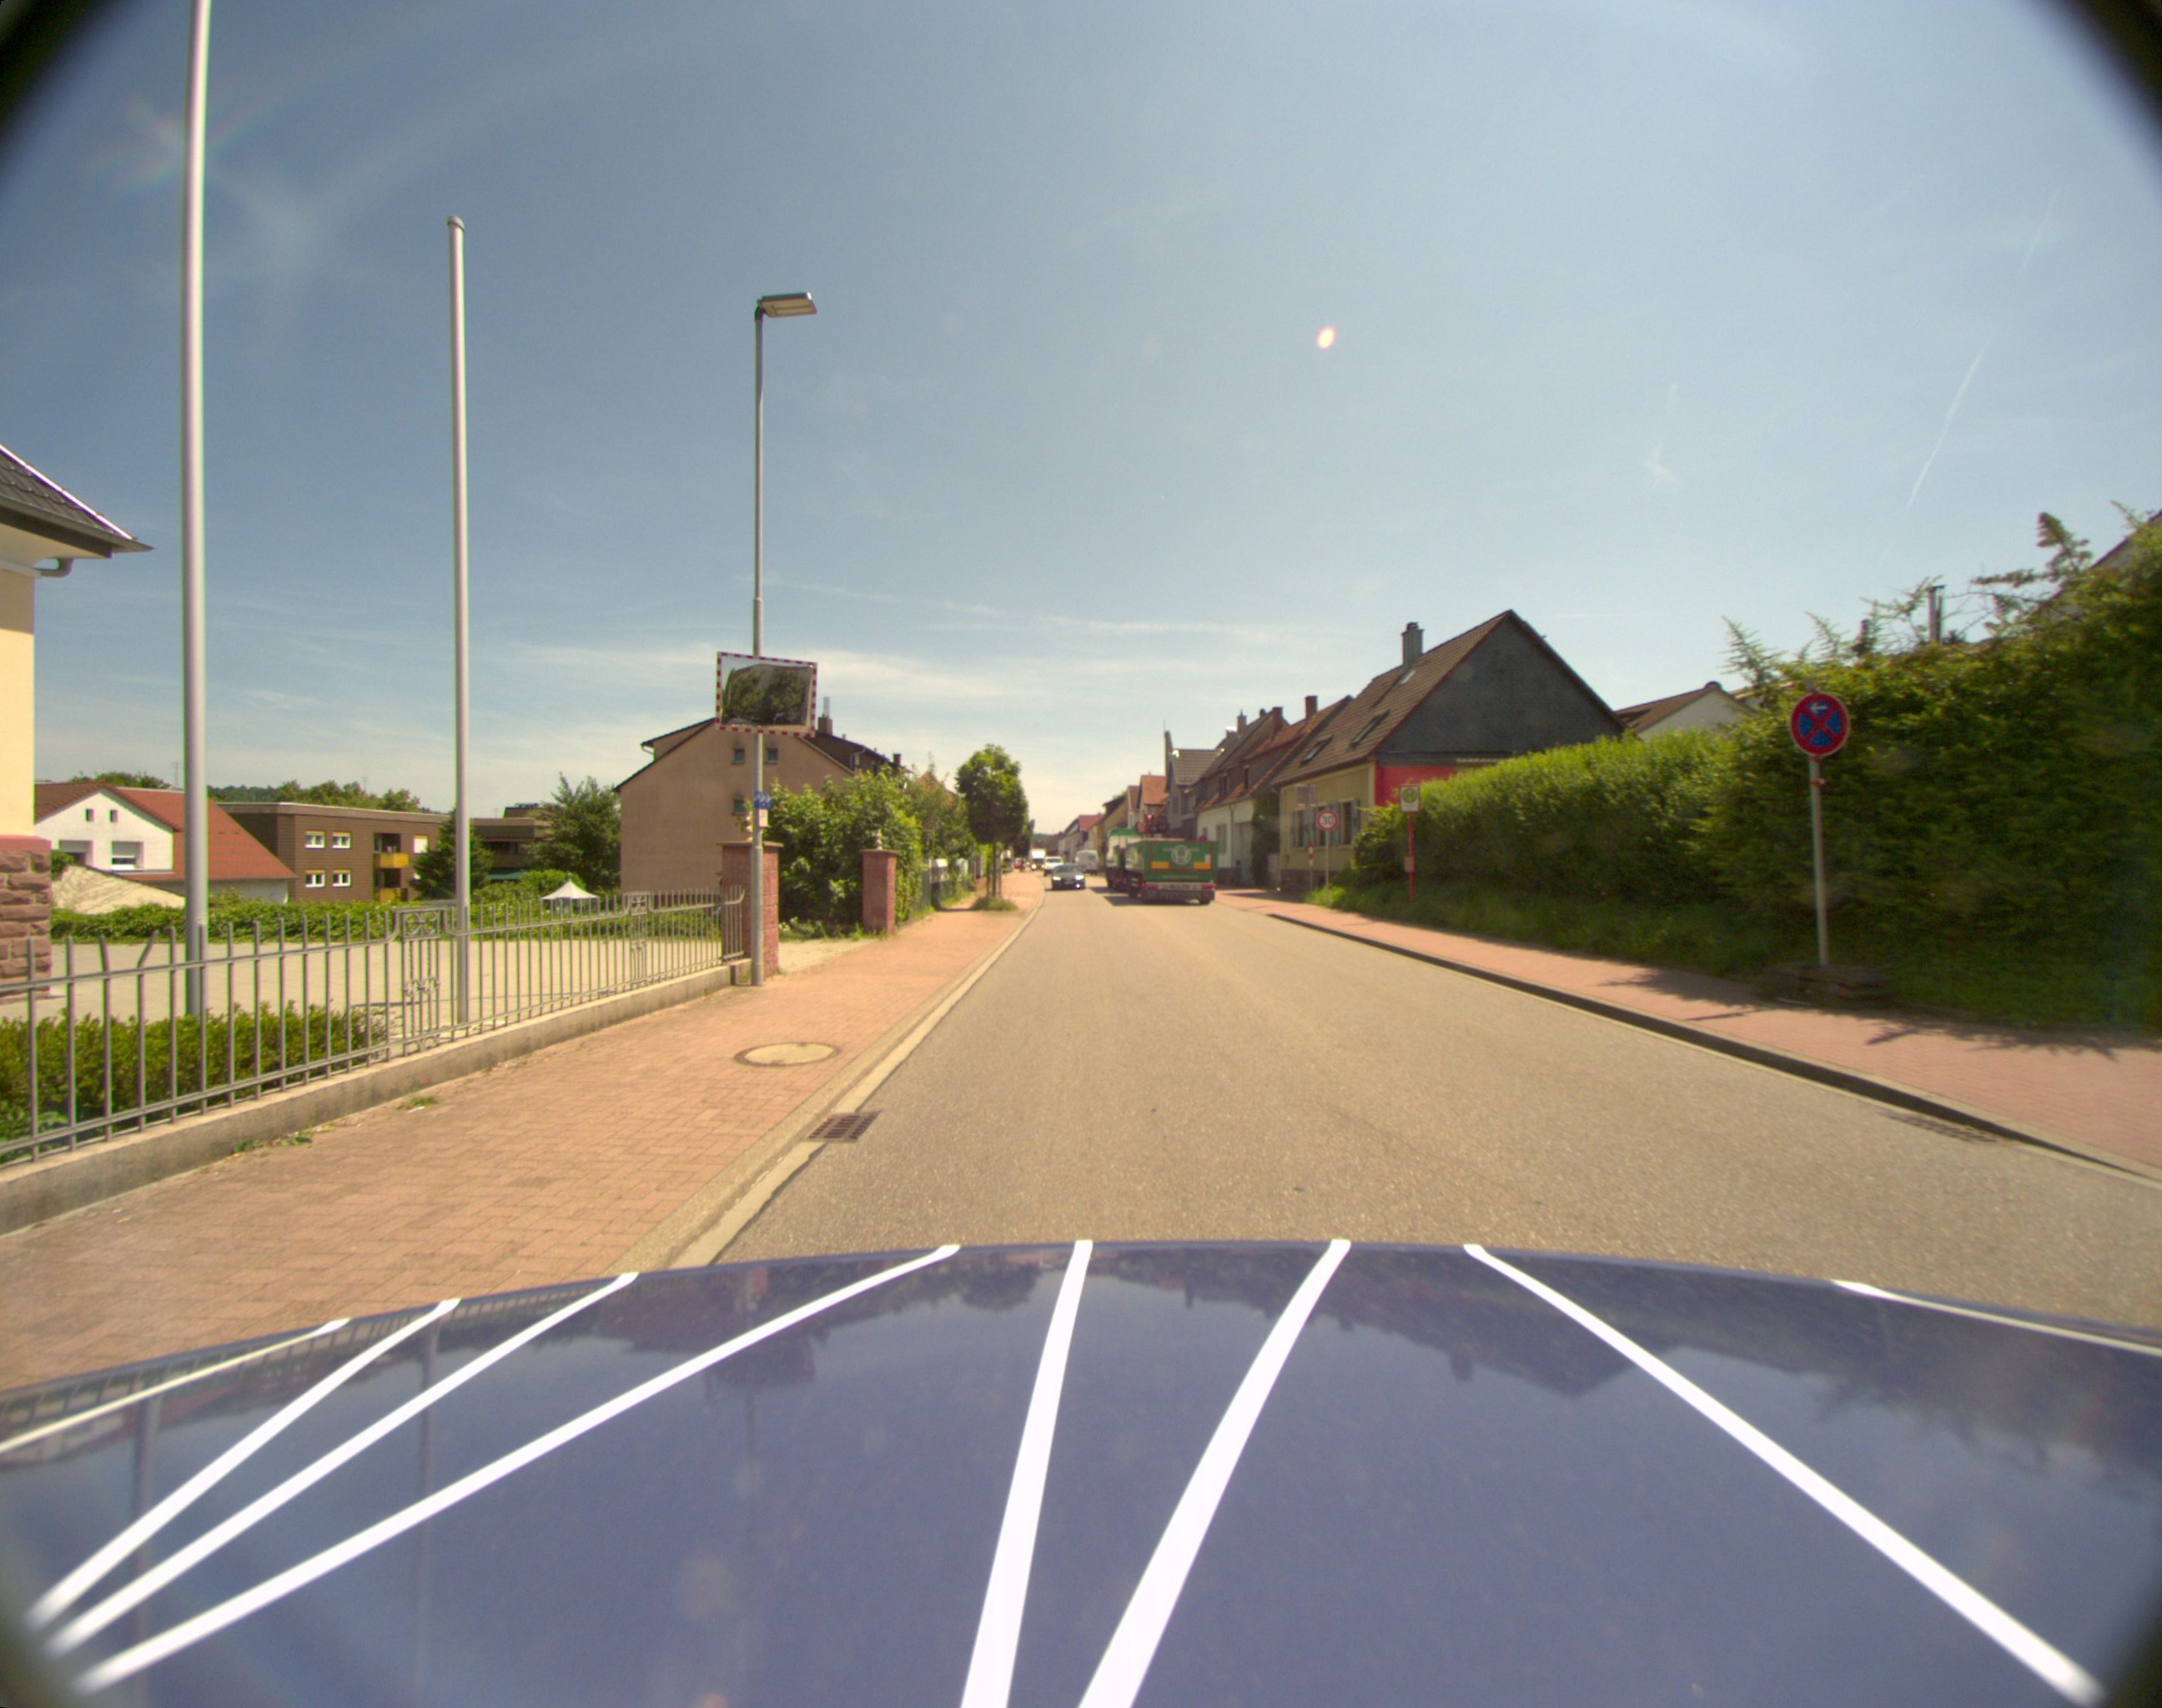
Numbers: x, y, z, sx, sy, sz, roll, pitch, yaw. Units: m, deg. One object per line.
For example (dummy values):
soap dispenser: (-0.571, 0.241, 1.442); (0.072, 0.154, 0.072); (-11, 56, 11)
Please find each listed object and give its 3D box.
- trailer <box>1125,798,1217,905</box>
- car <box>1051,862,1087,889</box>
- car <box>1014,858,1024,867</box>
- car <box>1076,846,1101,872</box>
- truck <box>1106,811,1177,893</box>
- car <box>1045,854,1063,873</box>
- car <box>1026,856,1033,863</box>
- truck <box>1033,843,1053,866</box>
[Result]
trailer: (3.299, -0.077, 30.031); (2.536, 3.627, 8.461); (0, 0, -1)
car: (-0.681, 1.146, 41.592); (1.706, 1.346, 3.998); (-2, 0, -4)
car: (-11.460, 1.546, 140.508); (1.637, 1.572, 3.568); (1, 0, -4)
car: (0.704, 0.502, 75.484); (2.035, 2.446, 6.066); (1, 0, -3)
truck: (2.907, -0.073, 39.296); (2.574, 3.678, 10.076); (0, 0, -1)
car: (-2.701, 0.937, 74.741); (1.637, 1.833, 3.569); (-1, 0, -3)
car: (-12.372, 1.290, 181.717); (1.508, 1.432, 3.534); (-3, 1, -4)
truck: (-6.374, 0.047, 125.013); (2.899, 3.516, 12.948); (-1, 0, -4)
